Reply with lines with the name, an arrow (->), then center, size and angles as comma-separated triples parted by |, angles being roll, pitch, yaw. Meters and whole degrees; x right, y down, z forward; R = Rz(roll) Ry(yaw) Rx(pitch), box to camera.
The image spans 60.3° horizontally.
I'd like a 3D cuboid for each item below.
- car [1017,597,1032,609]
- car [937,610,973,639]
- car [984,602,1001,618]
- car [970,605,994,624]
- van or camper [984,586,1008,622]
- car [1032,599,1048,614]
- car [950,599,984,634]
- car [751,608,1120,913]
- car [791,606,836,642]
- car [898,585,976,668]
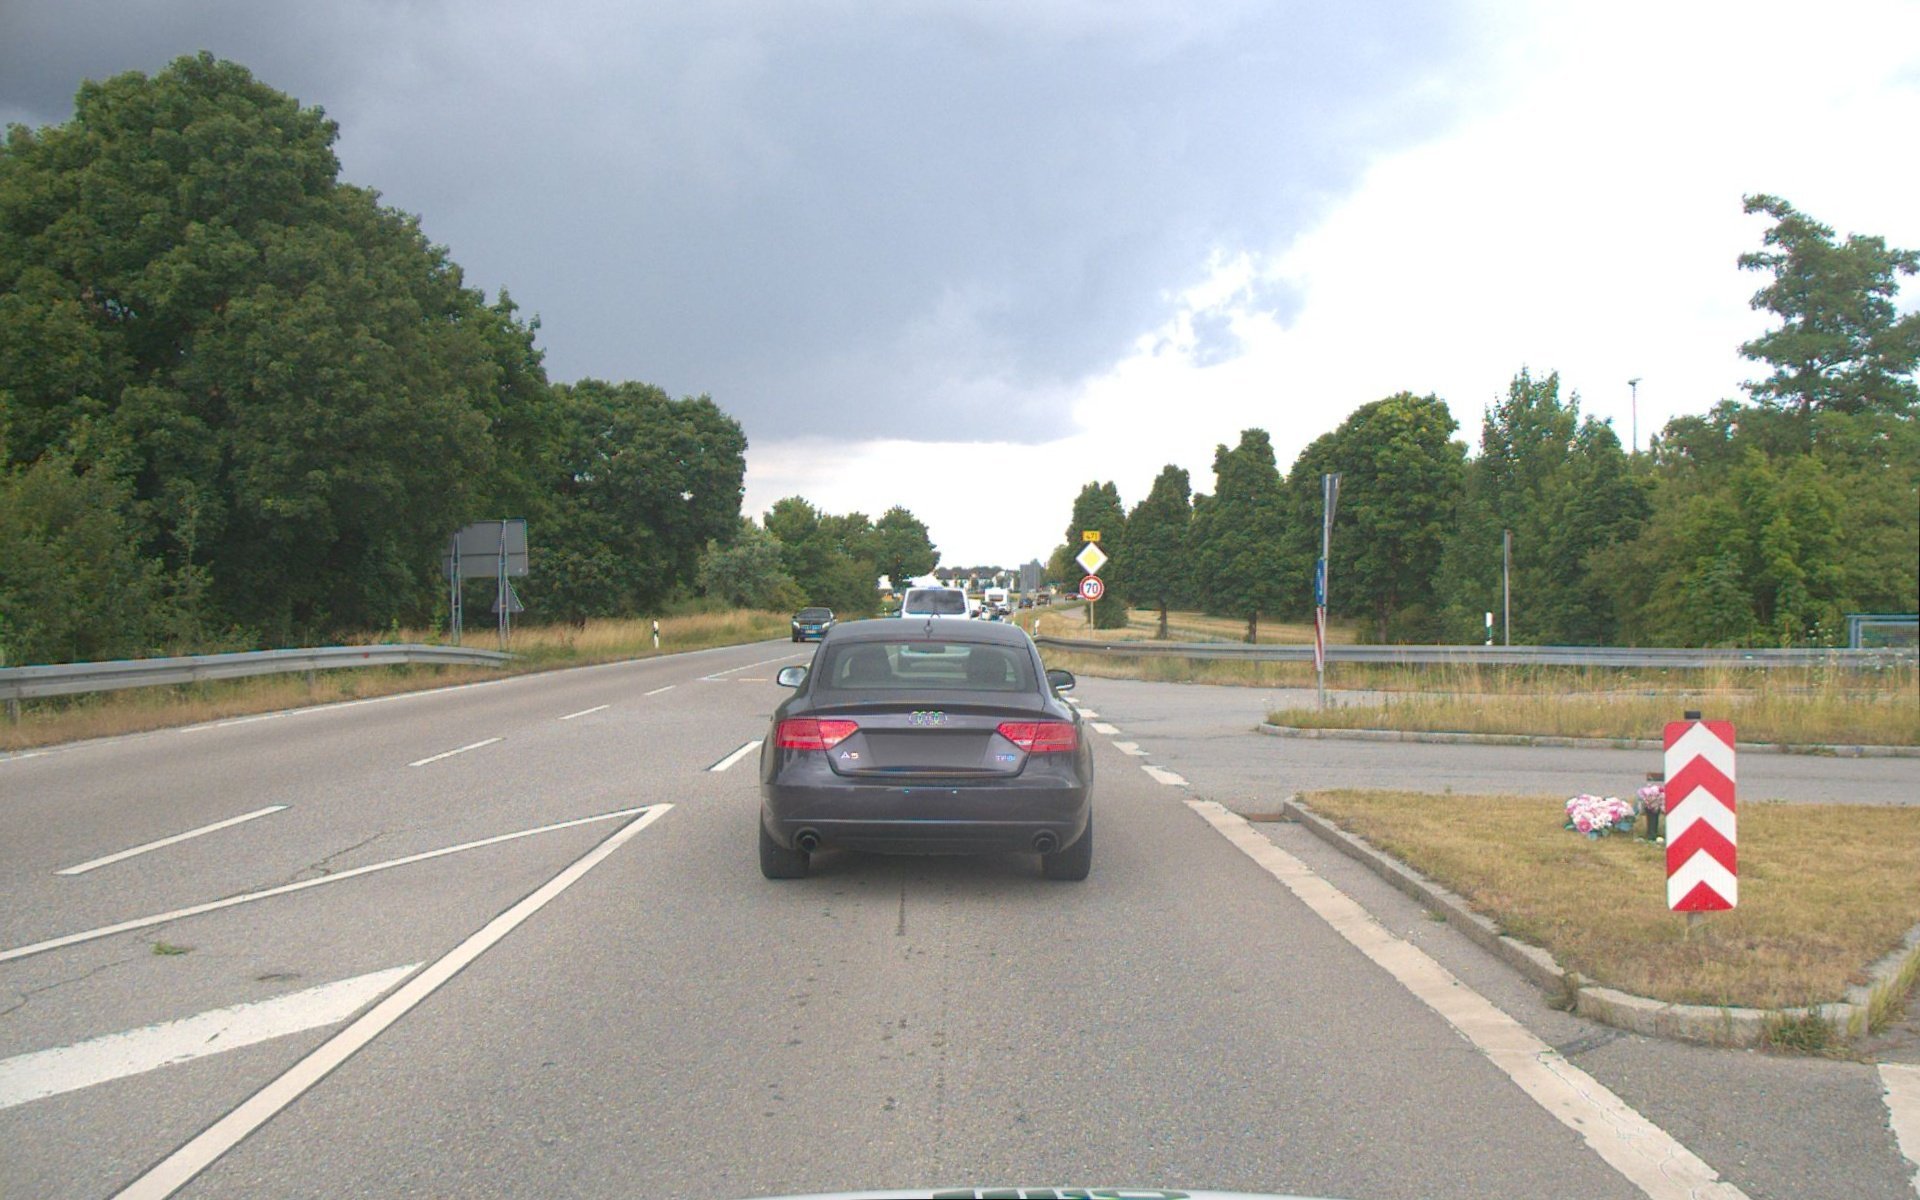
car -> 8.055, 0.328, 207.080 | 1.683, 1.477, 4.000 | 1, 0, 0
car -> -0.253, 1.288, 87.684 | 1.758, 1.490, 3.249 | 0, 0, 3
car -> 2.949, 0.896, 149.306 | 1.231, 1.377, 3.468 | 0, 0, 5
car -> 1.806, 1.162, 134.964 | 1.699, 1.541, 3.749 | 0, 0, 5
van or camper -> 3.649, 0.419, 167.591 | 2.292, 3.542, 5.719 | 0, 0, 1
car -> 11.338, 0.907, 233.527 | 1.953, 2.049, 3.999 | 0, 0, -1
car -> 0.459, 1.010, 103.837 | 1.952, 2.125, 4.001 | 0, 0, 2
car -> -0.145, 0.783, 9.931 | 1.746, 1.400, 3.999 | 1, 0, -1
car -> -6.485, 1.032, 73.670 | 1.676, 1.549, 3.999 | 0, 0, -1
car -> -0.575, 0.605, 40.692 | 1.801, 1.915, 3.999 | 1, 0, -1
